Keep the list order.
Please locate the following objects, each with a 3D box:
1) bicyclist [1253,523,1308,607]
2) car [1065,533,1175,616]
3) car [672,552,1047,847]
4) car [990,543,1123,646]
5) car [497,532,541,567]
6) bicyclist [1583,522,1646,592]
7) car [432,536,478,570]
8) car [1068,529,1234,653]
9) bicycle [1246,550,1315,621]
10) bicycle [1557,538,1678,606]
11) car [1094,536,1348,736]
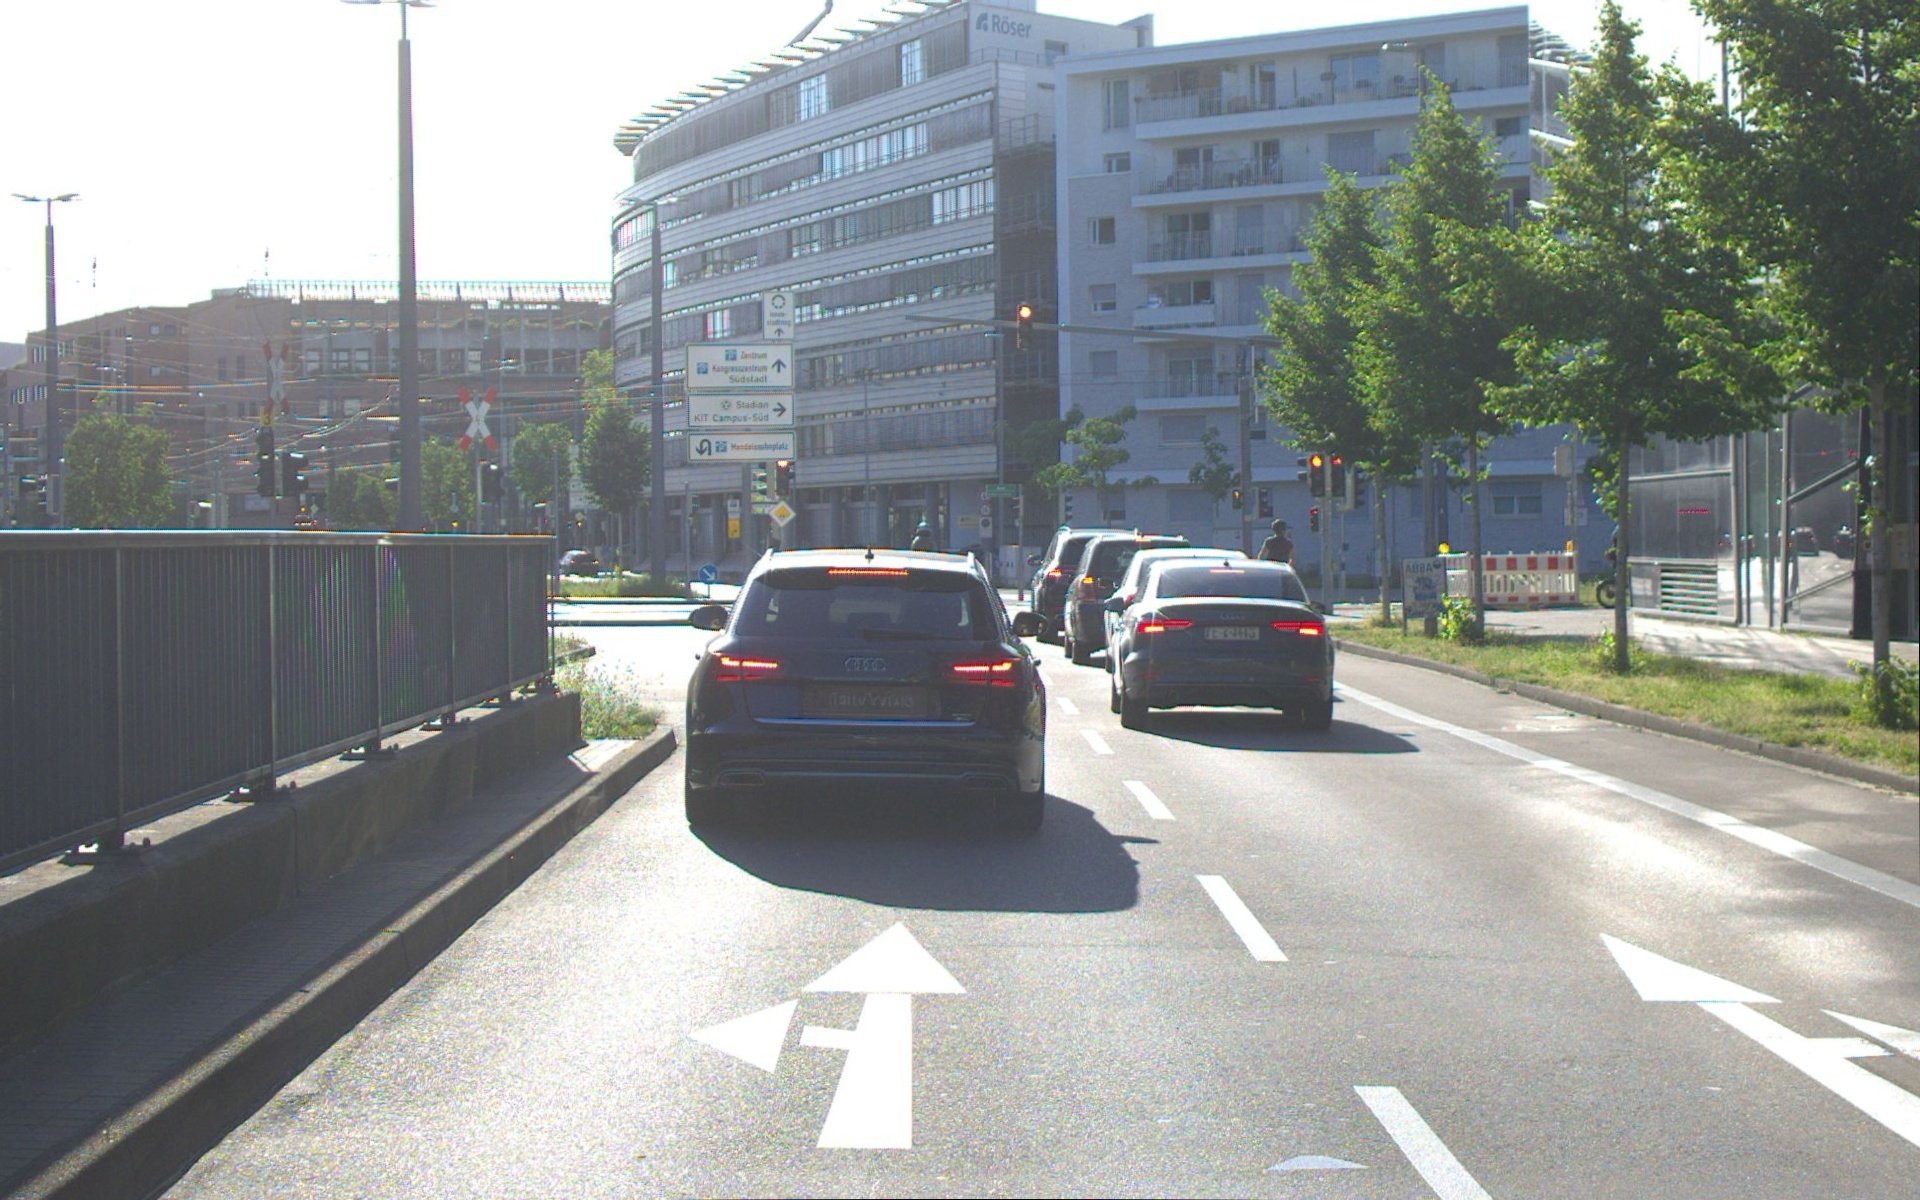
[{"bbox_3d":[5.490,-0.605,58.978,0.724,1.413,0.892,-2,1,-7],"label":"bicyclist"},{"bbox_3d":[3.016,-0.511,65.595,1.993,1.460,4.000,1,2,1],"label":"car"},{"bbox_3d":[-0.529,0.454,19.110,1.812,1.422,4.690,-1,1,-1],"label":"car"},{"bbox_3d":[1.502,-0.120,54.002,1.993,1.460,4.000,1,2,1],"label":"car"},{"bbox_3d":[-23.229,-2.673,181.240,1.993,1.744,4.001,-2,1,-4],"label":"car"},{"bbox_3d":[12.116,-0.804,63.698,1.032,1.264,0.726,-2,1,4],"label":"bicyclist"},{"bbox_3d":[-26.978,-2.506,183.768,1.993,1.744,4.001,-2,1,-3],"label":"car"},{"bbox_3d":[2.412,-0.151,44.301,1.993,1.460,4.000,1,2,1],"label":"car"},{"bbox_3d":[5.487,-0.259,58.962,0.724,1.180,2.094,-2,1,-7],"label":"bicycle"},{"bbox_3d":[12.181,-0.526,63.714,2.087,1.180,0.726,-2,1,4],"label":"bicycle"},{"bbox_3d":[2.159,0.252,29.443,1.852,1.541,4.000,1,1,0],"label":"car"}]
